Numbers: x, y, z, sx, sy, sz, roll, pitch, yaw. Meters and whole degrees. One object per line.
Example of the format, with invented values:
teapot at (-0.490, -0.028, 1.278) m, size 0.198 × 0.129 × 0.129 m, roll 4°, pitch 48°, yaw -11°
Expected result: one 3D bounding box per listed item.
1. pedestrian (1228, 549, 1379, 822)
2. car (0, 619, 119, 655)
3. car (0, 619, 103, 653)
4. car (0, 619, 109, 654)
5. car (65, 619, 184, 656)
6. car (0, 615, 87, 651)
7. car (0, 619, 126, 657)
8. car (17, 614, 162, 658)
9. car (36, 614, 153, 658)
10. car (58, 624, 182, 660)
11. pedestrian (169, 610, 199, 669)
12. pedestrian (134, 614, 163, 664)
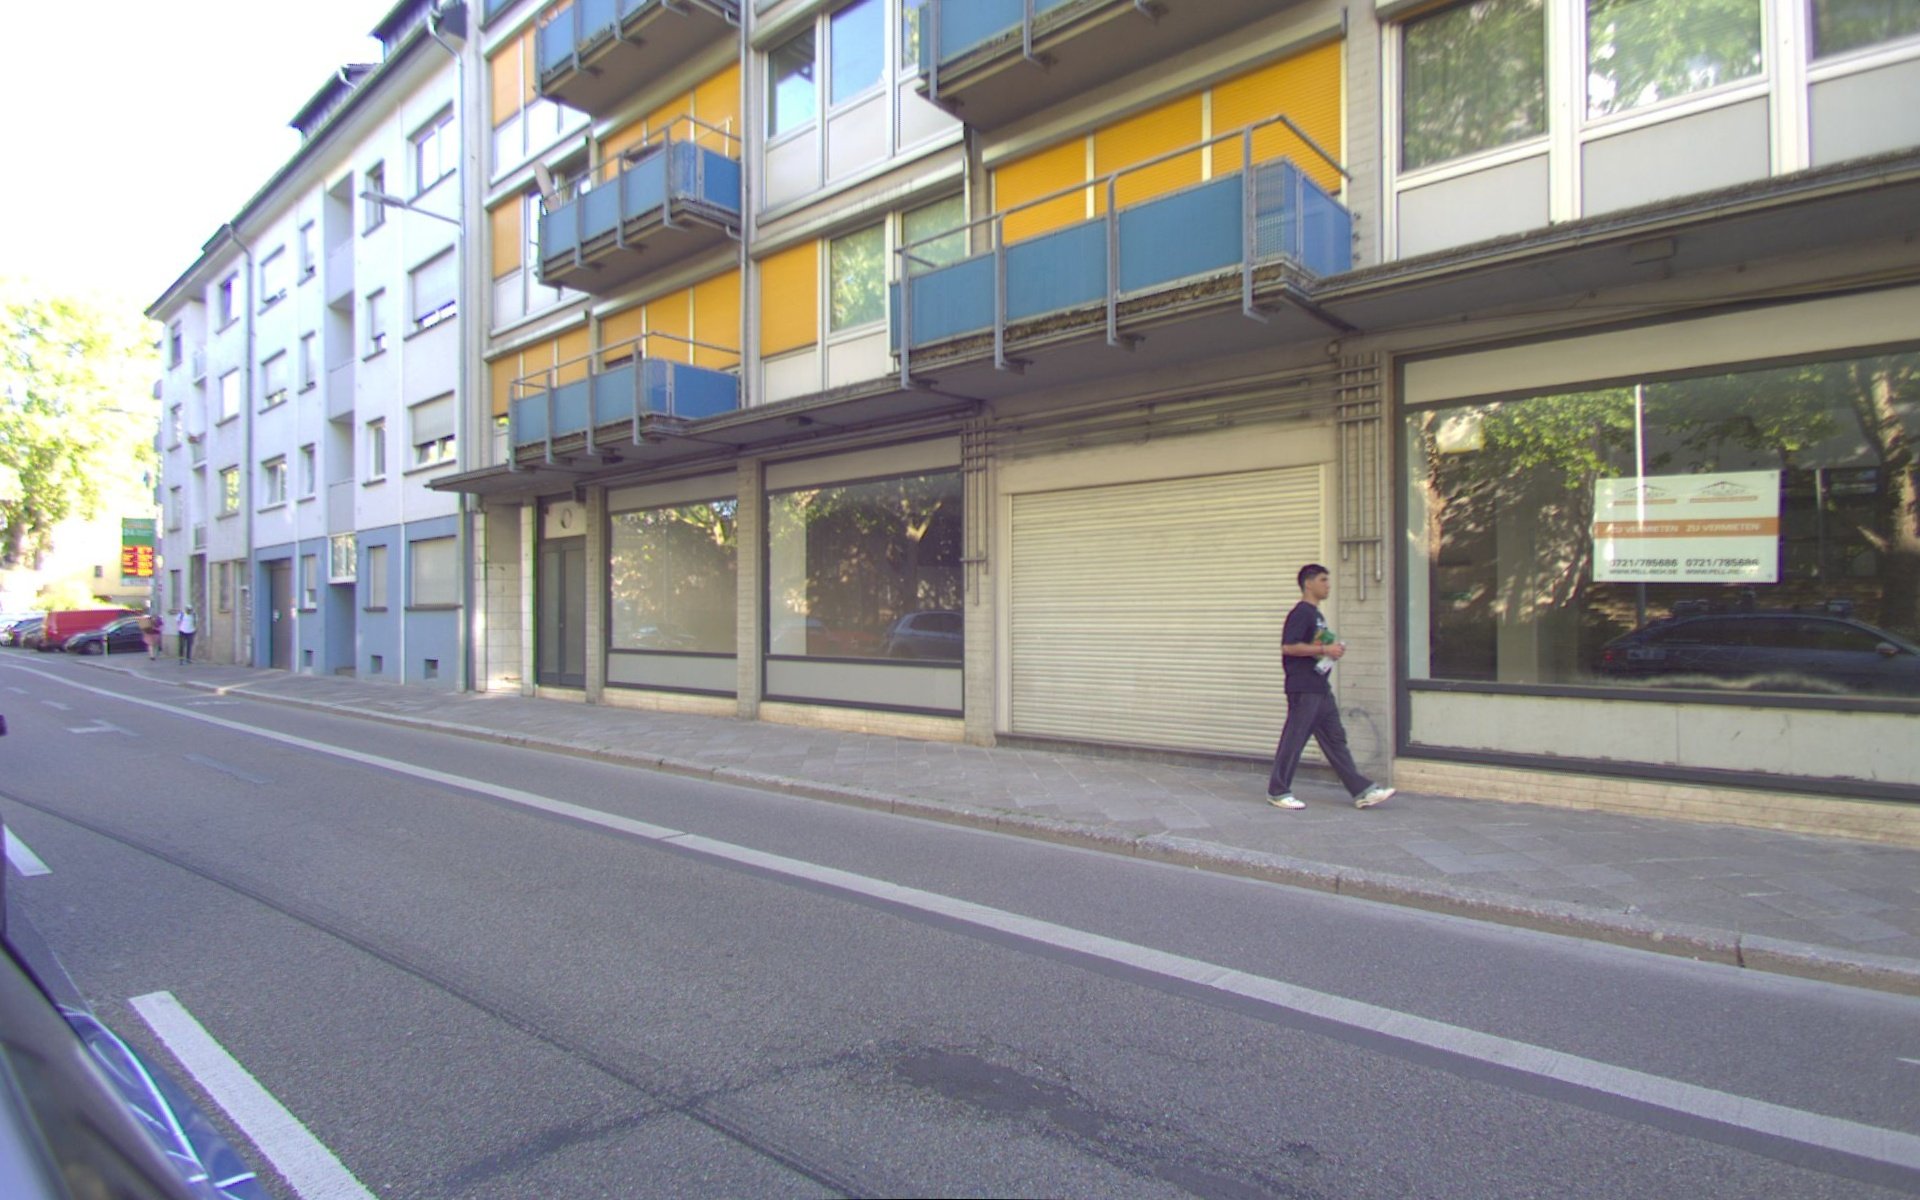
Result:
pedestrian at (2.414, 0.562, 7.116) m, size 0.793 × 1.785 × 0.655 m, roll -1°, pitch -1°, yaw 41°
car at (-52.233, 2.111, 58.723) m, size 2.159 × 1.952 × 4.990 m, roll -1°, pitch -1°, yaw 41°
car at (-55.967, 2.160, 61.992) m, size 2.314 × 1.952 × 4.978 m, roll -1°, pitch -1°, yaw 41°
car at (-54.119, 2.133, 60.360) m, size 2.082 × 1.952 × 4.928 m, roll -1°, pitch -1°, yaw 41°
car at (-37.874, 1.680, 45.948) m, size 1.742 × 1.572 × 3.946 m, roll -1°, pitch -1°, yaw 41°
car at (-59.341, 2.100, 64.718) m, size 2.186 × 2.164 × 5.077 m, roll -1°, pitch -1°, yaw 41°
car at (-50.294, 2.088, 56.835) m, size 2.186 × 1.952 × 5.077 m, roll -1°, pitch -1°, yaw 41°
car at (-42.688, 1.703, 49.719) m, size 2.256 × 1.995 × 5.156 m, roll -1°, pitch -1°, yaw 41°
car at (-40.587, 1.636, 47.521) m, size 1.866 × 1.952 × 3.946 m, roll -1°, pitch -1°, yaw 41°
car at (-36.549, 1.789, 44.082) m, size 1.742 × 1.431 × 3.946 m, roll -1°, pitch -1°, yaw 41°
pedestrian at (-23.822, 1.194, 31.072) m, size 0.756 × 1.760 × 0.600 m, roll -1°, pitch 0°, yaw 41°
pedestrian at (-27.204, 1.289, 33.925) m, size 0.842 × 1.654 × 0.596 m, roll -1°, pitch 0°, yaw 41°
